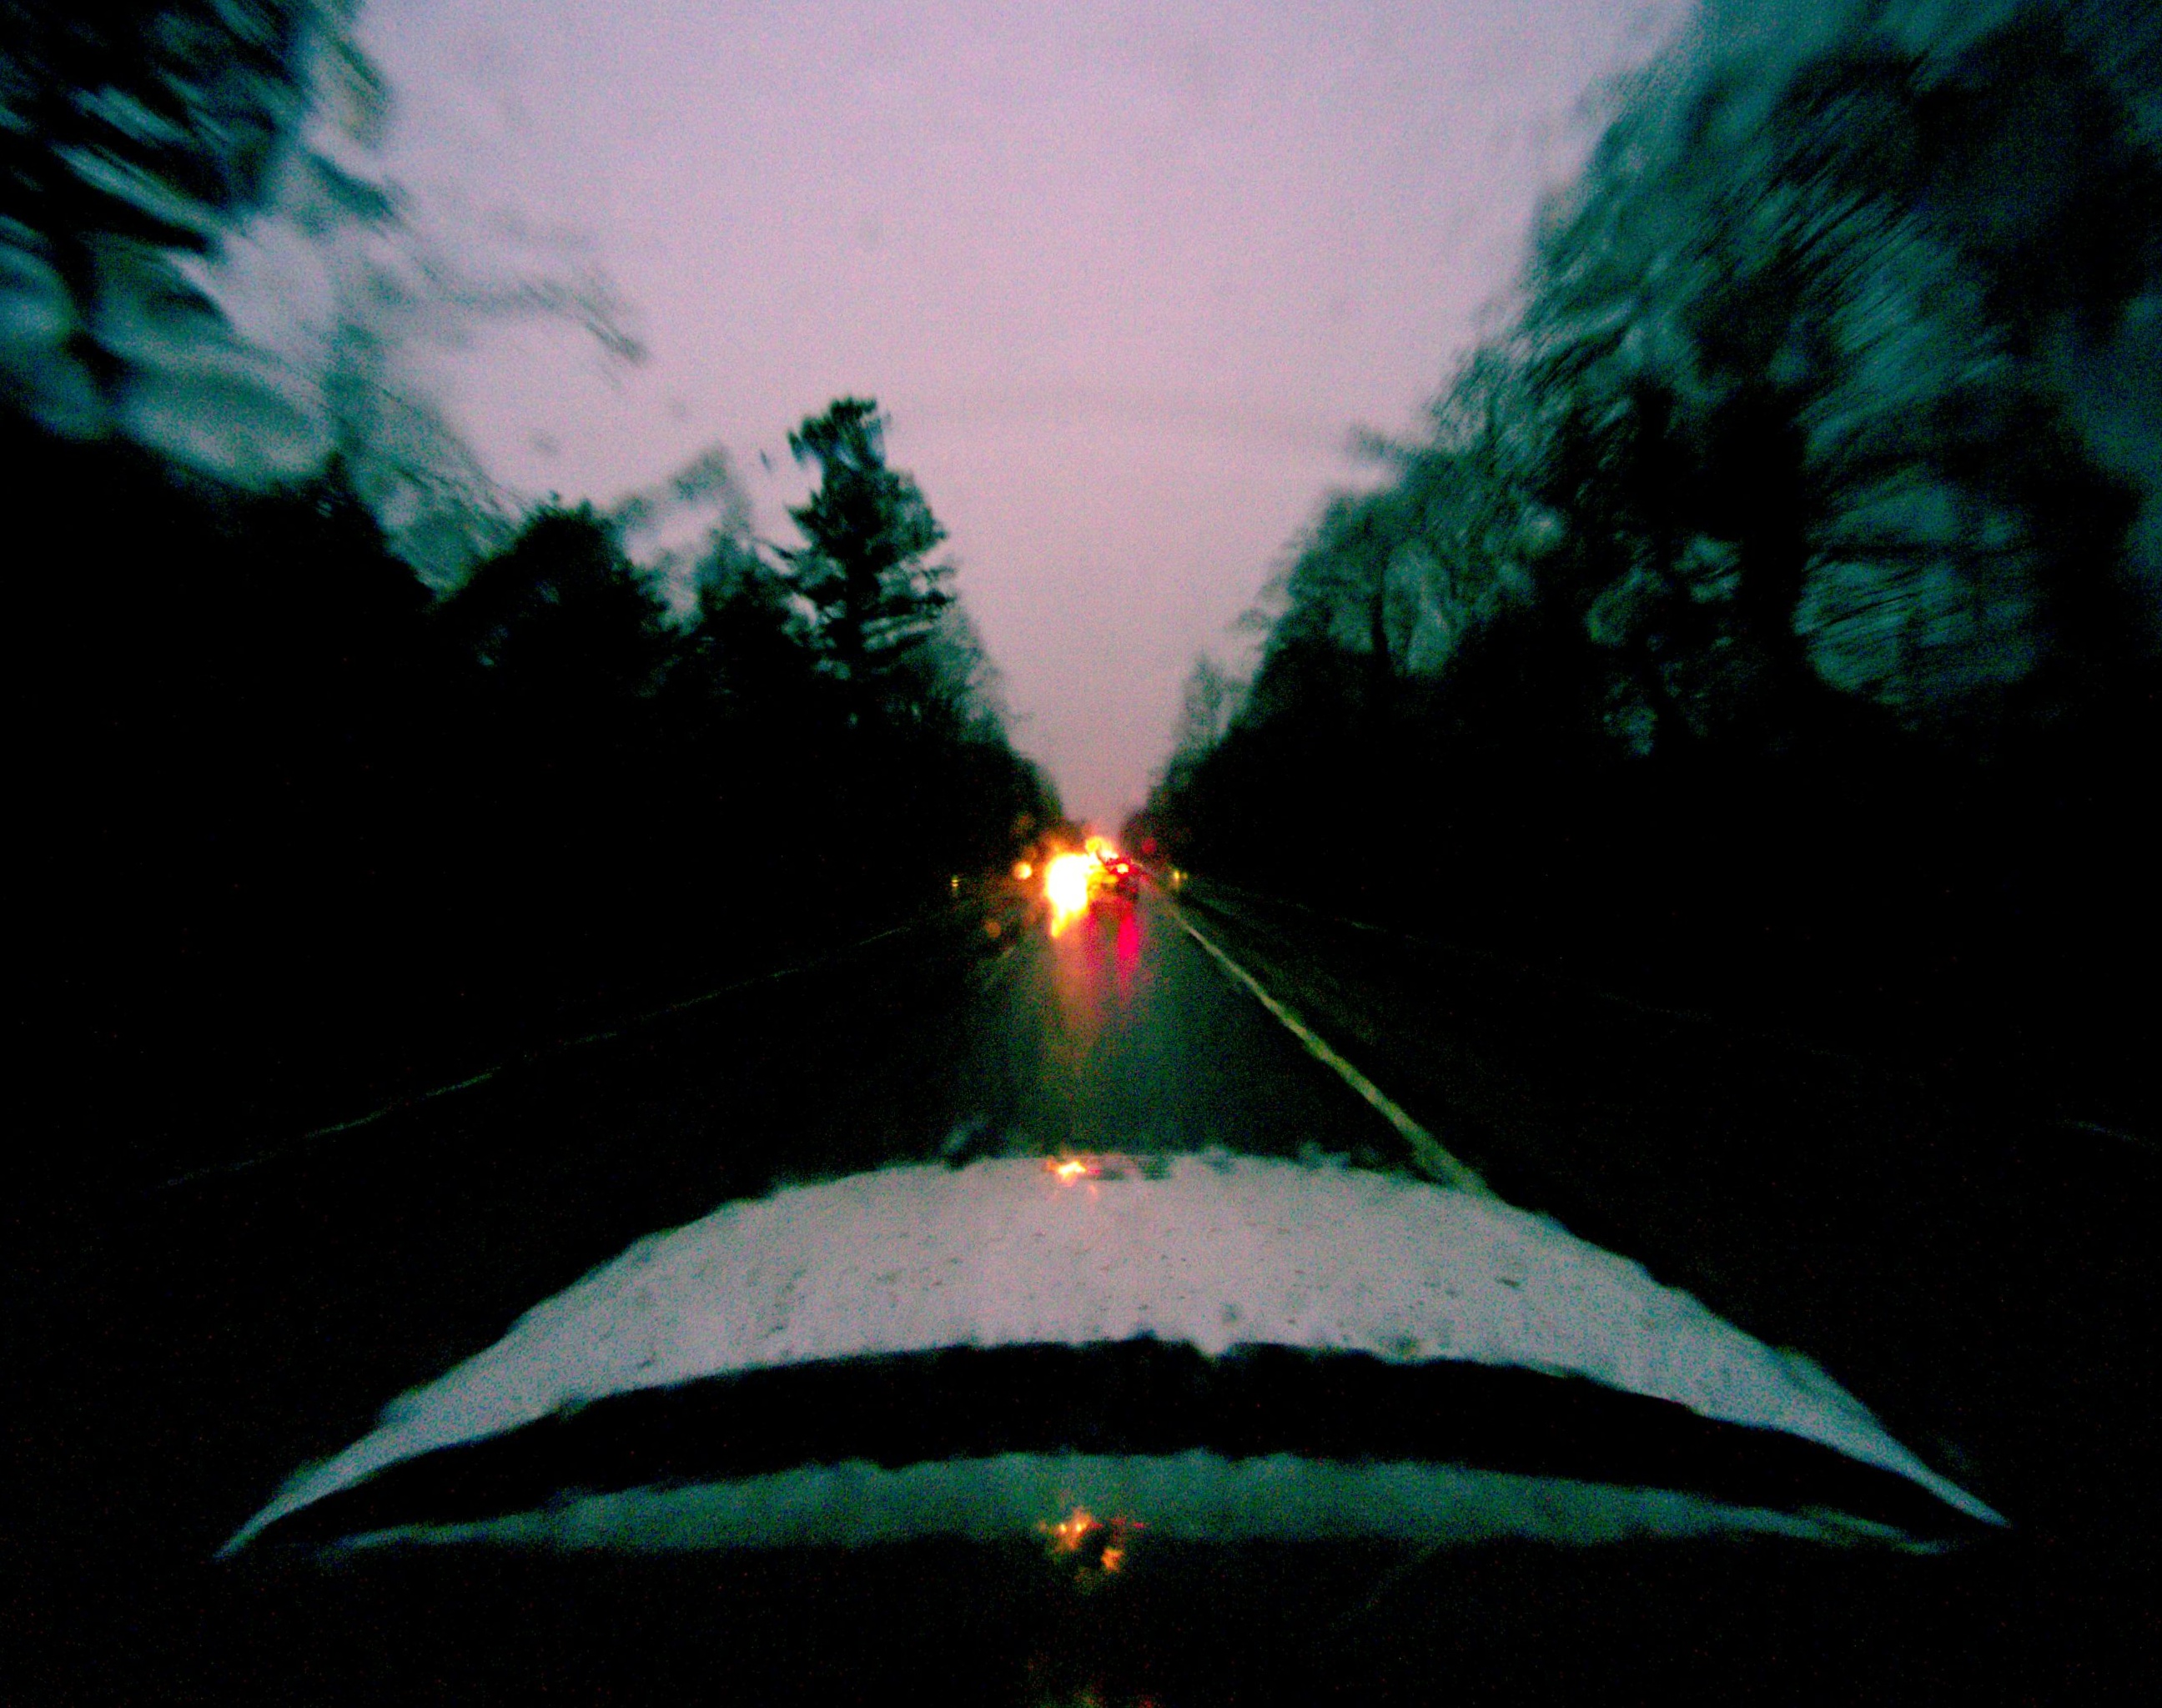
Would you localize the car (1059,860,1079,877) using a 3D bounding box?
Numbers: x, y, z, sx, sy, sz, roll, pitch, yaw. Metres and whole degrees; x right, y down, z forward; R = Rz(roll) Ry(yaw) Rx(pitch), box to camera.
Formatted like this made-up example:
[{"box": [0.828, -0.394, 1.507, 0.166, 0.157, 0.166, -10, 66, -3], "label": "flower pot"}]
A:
[{"box": [-1.057, 1.257, 73.656, 1.507, 1.413, 3.663, -2, 0, 3], "label": "car"}]
